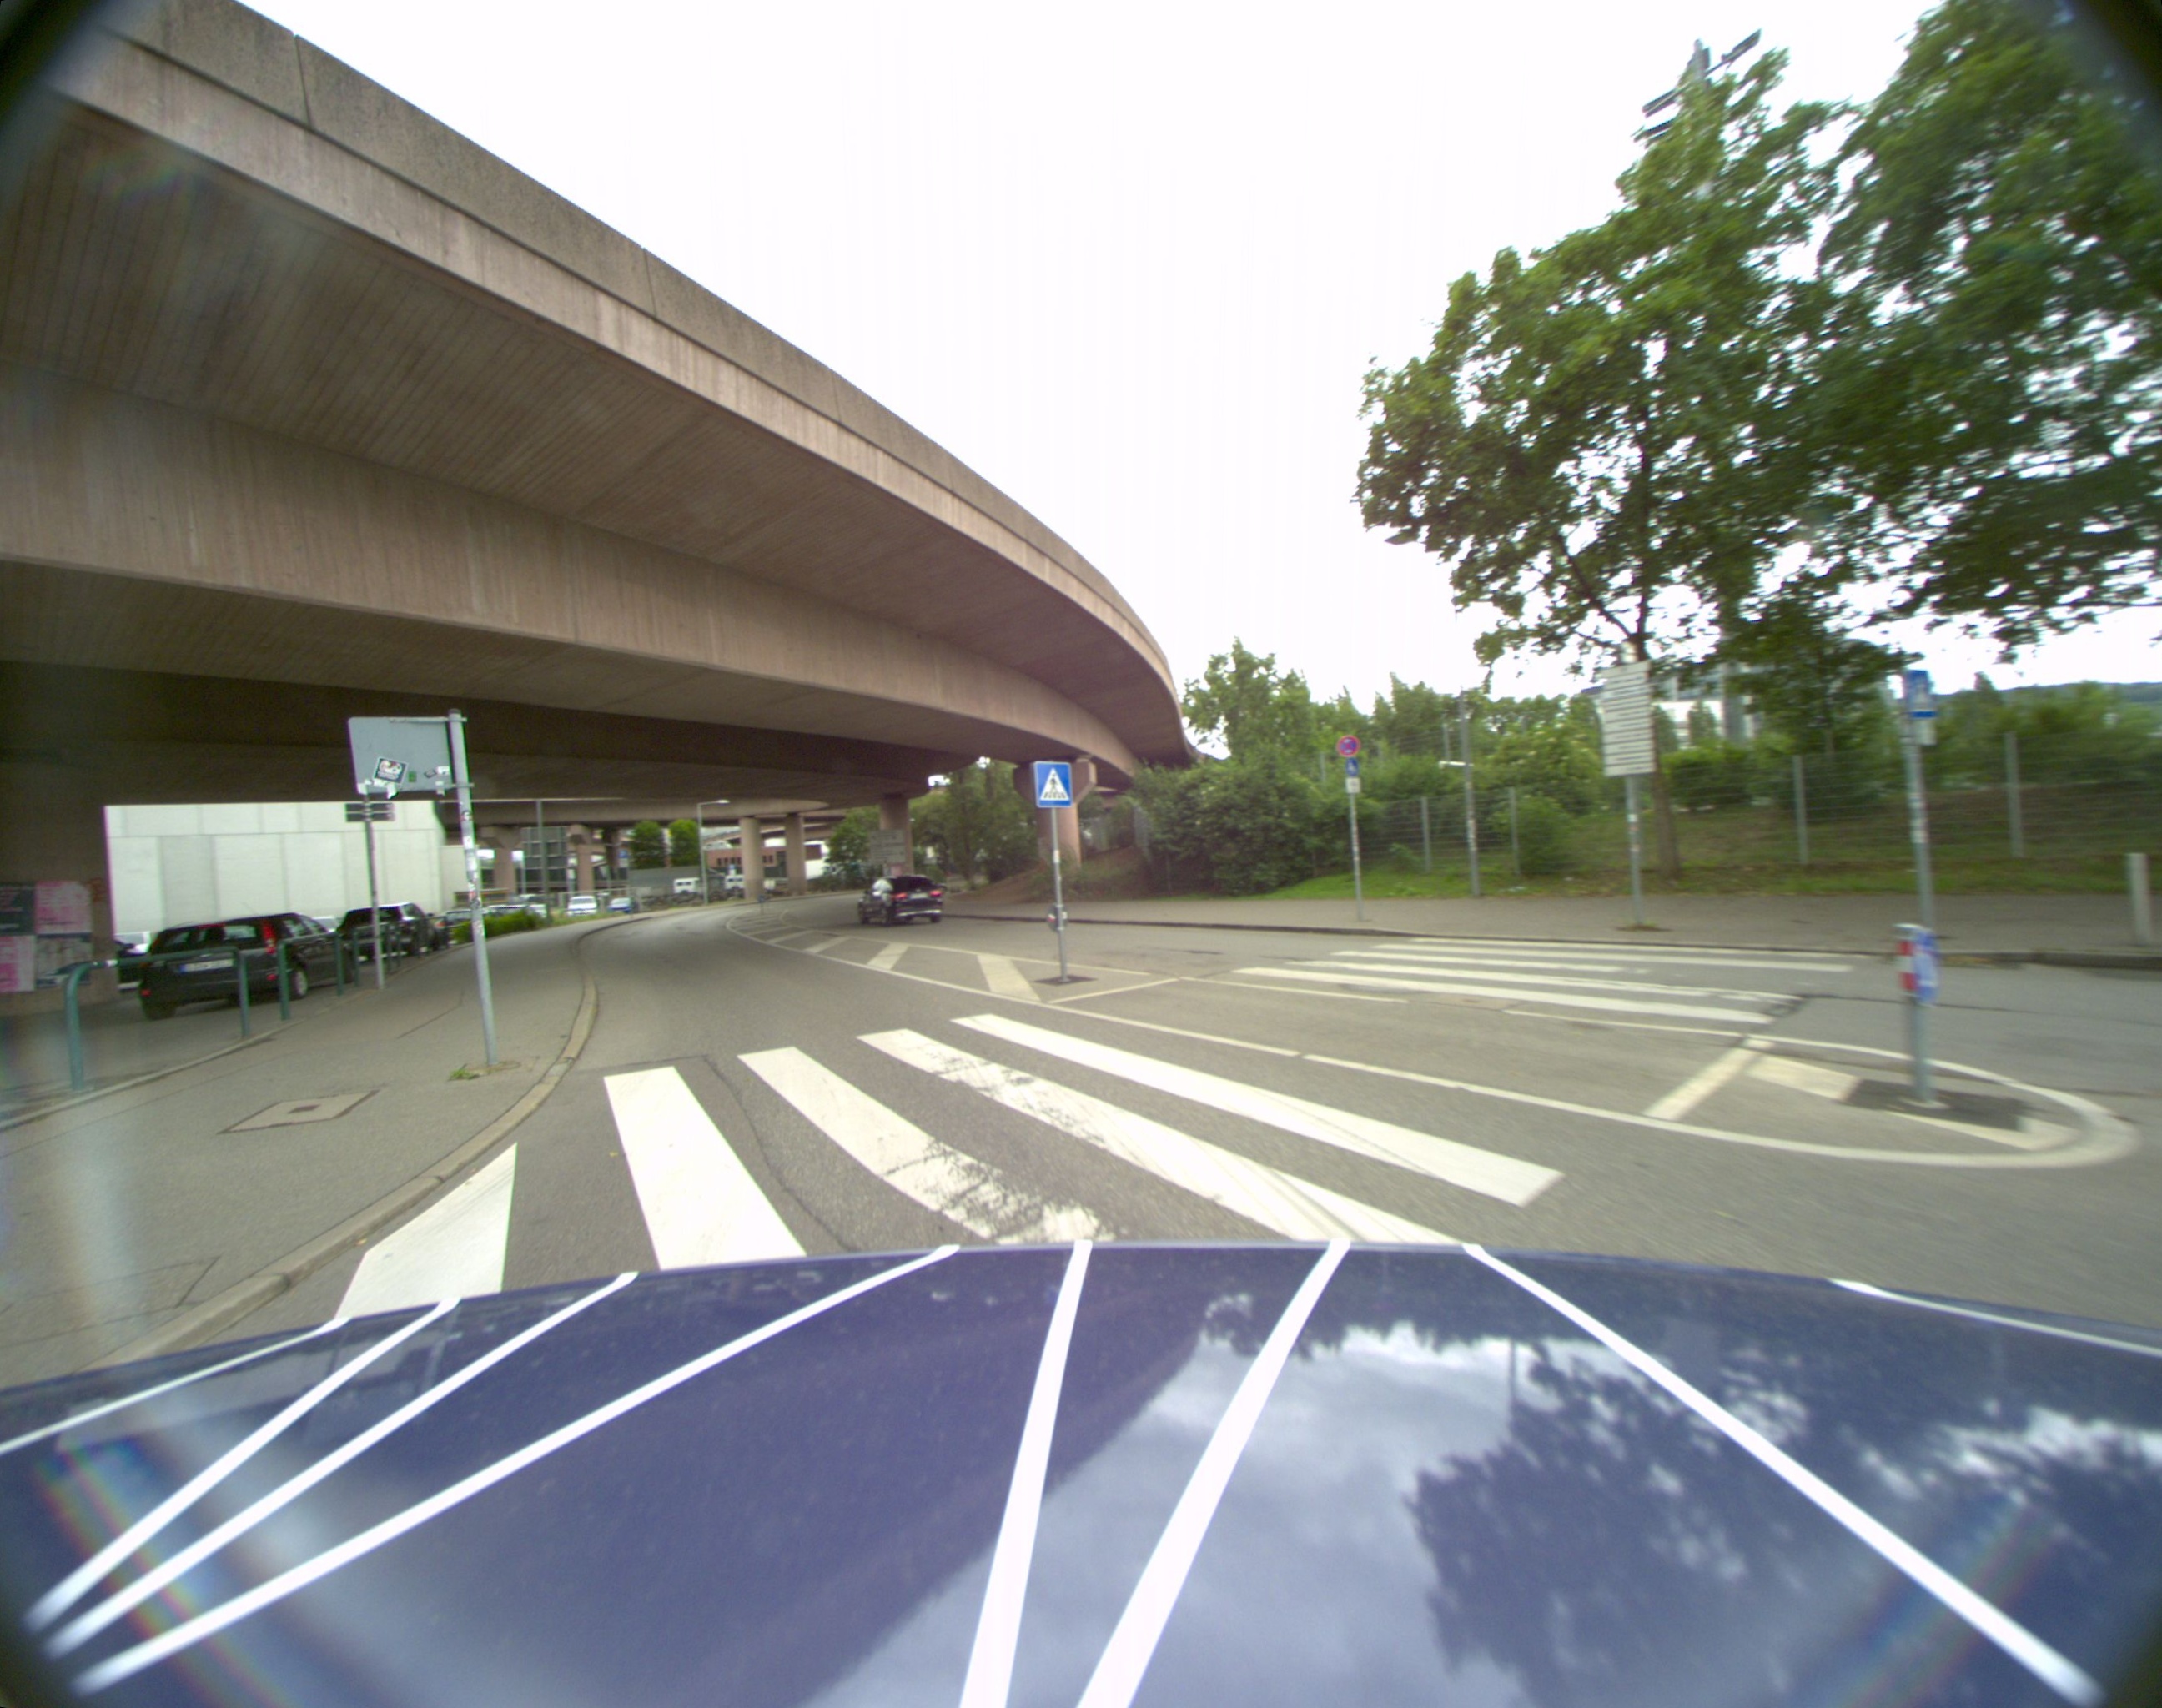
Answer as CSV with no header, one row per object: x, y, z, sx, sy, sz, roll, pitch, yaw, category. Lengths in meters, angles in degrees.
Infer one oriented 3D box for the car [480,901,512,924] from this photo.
-44.734,4.421,58.092,1.779,1.578,4.350,-3,-1,-38,car

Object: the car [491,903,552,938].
-28.037,3.296,38.184,1.545,1.470,2.757,-4,-1,-17,car

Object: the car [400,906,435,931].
-47.135,4.568,54.021,1.626,1.535,3.091,-3,-1,-37,car

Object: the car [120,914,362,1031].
-13.817,1.842,12.785,1.613,1.389,3.572,-5,0,-30,car

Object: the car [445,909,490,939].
-35.443,3.999,43.998,1.861,1.466,4.676,-3,-1,-38,car

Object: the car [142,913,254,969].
-30.517,2.949,26.393,1.842,1.583,4.182,-3,-1,-40,car

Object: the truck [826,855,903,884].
-30.384,2.118,107.085,10.233,3.478,2.265,-3,1,-37,truck

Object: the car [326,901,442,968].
-19.571,2.209,21.494,1.613,1.524,3.403,-5,0,-30,car

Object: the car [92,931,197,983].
-35.908,3.896,29.261,1.760,1.547,4.077,-3,-1,-40,car

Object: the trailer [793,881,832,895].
-31.130,3.949,88.168,1.602,1.323,4.389,-3,0,26,trailer

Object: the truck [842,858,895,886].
-29.098,2.446,103.940,6.423,3.388,2.265,-3,1,-34,truck

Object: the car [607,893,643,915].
-38.330,4.150,63.972,1.777,1.625,4.678,-3,-1,-21,car

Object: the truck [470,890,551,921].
-63.151,5.685,84.296,6.941,2.914,3.044,-3,-1,-35,truck

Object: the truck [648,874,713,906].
-41.069,3.681,78.064,2.455,2.869,6.124,-4,-1,11,truck

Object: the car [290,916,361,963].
-32.139,3.589,32.425,1.749,1.665,4.459,-3,-1,-40,car

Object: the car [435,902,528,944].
-26.644,3.028,33.967,1.736,1.470,4.244,-3,-1,-17,car

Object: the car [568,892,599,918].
-40.892,4.173,62.507,1.897,1.945,4.670,-3,-1,-31,car

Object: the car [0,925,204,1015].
-23.215,2.639,17.682,1.792,1.498,3.853,-5,1,-17,car

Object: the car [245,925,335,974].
-29.033,3.459,28.016,1.842,1.412,4.182,-3,-1,-40,car

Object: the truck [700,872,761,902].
-36.973,3.405,80.450,2.422,2.727,7.239,-4,-1,5,truck

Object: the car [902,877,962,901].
-11.609,2.743,59.530,1.824,1.422,4.782,-6,-2,30,car

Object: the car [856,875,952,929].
-6.125,1.589,25.826,1.848,1.565,4.540,-3,-1,-30,car

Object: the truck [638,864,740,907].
-47.042,3.735,91.459,10.153,4.339,3.905,-3,-1,-38,truck
